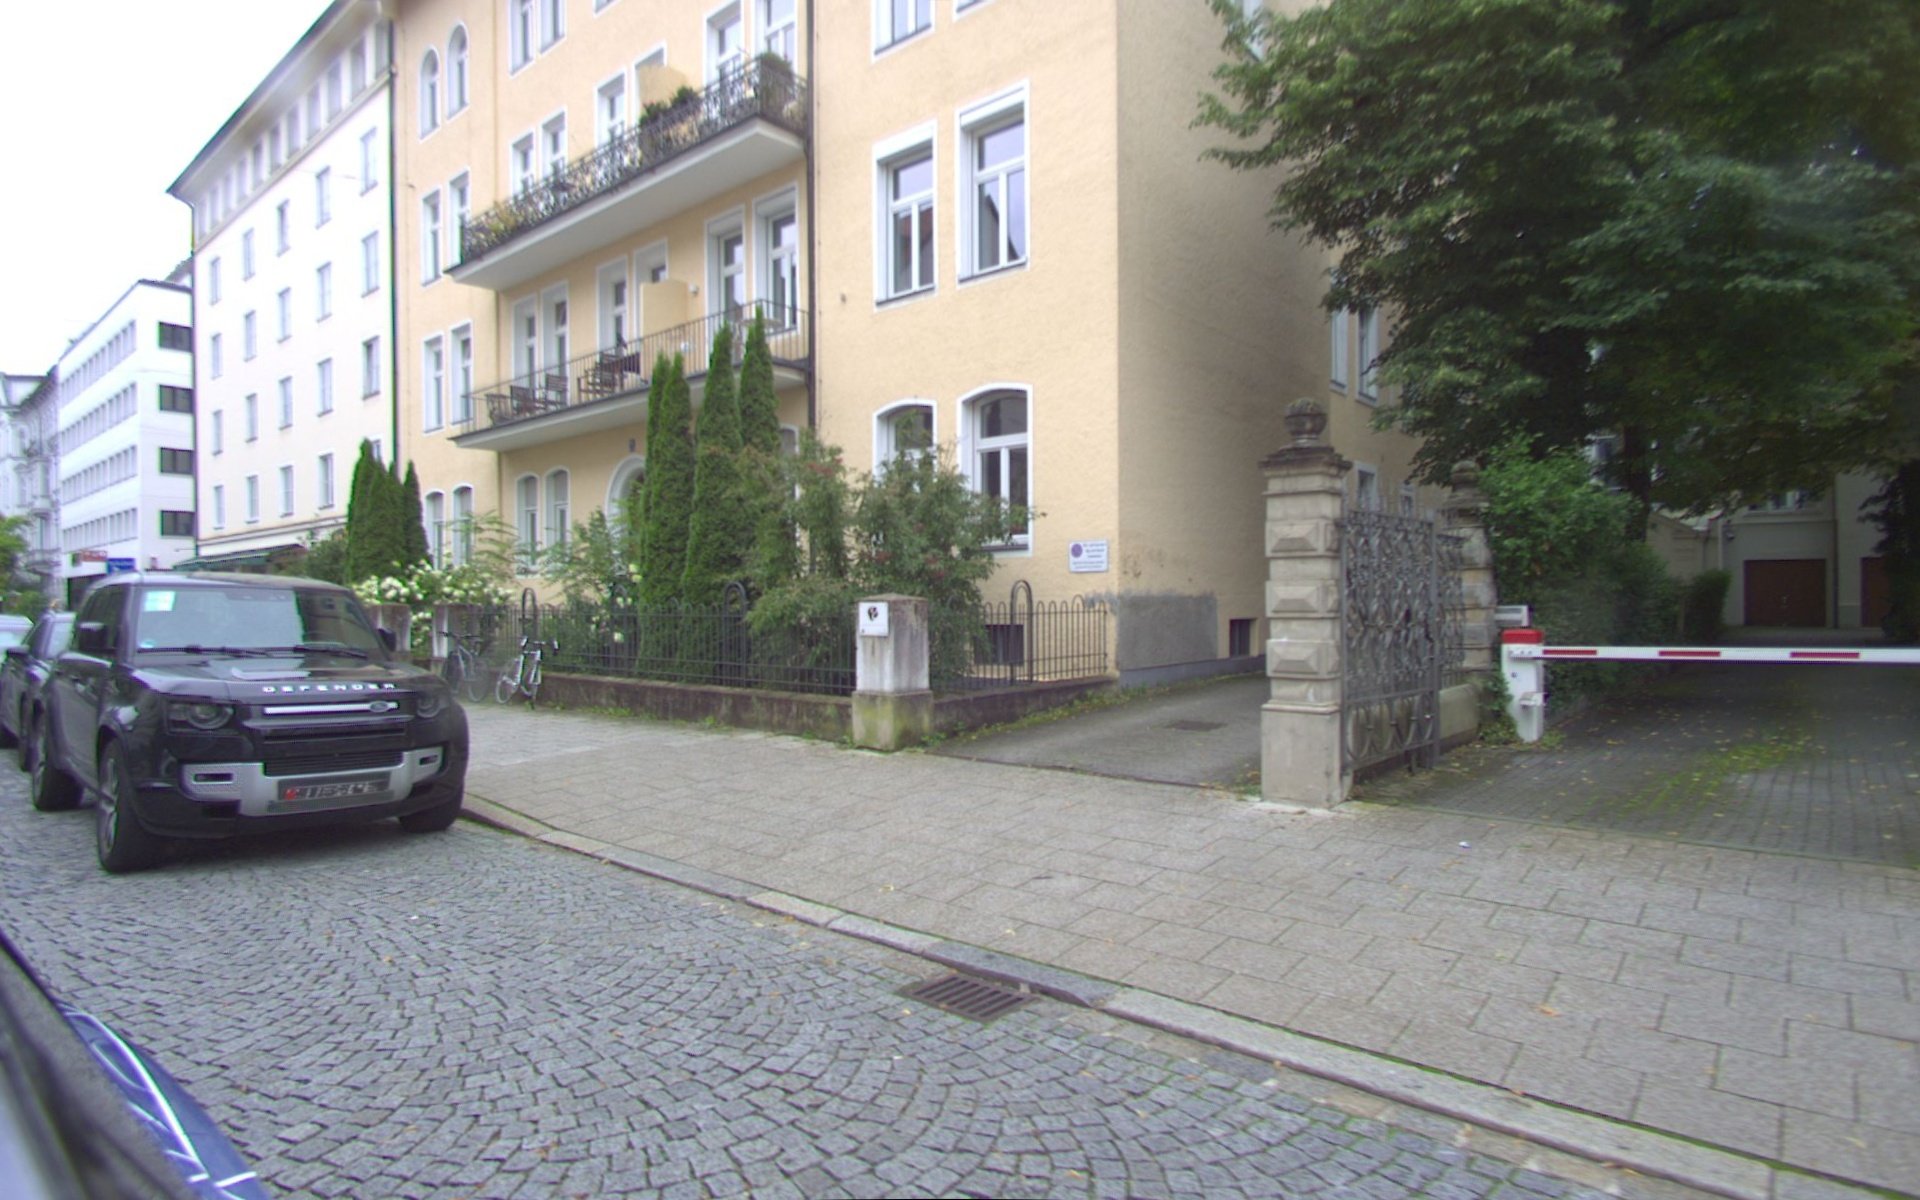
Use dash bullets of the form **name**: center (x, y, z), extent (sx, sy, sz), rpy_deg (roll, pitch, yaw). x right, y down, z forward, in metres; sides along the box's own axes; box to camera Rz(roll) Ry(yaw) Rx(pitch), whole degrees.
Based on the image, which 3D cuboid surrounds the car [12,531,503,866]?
- **car**: center (-5.478, 0.544, 7.602), extent (4.720, 1.751, 1.962), rpy_deg (-2, 0, 42)

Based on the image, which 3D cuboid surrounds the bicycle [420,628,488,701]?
- **bicycle**: center (-7.535, 0.932, 15.041), extent (1.572, 1.010, 0.348), rpy_deg (-1, 0, 42)

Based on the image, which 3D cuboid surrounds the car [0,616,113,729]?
- **car**: center (-14.105, 0.988, 14.937), extent (4.388, 1.440, 1.755), rpy_deg (-1, 1, 41)

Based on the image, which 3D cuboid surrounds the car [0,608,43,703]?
- **car**: center (-18.867, 1.011, 19.159), extent (4.389, 1.660, 1.755), rpy_deg (-1, 1, 42)

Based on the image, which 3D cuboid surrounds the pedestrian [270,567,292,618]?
- **pedestrian**: center (-21.992, -0.241, 32.770), extent (0.497, 1.655, 0.472), rpy_deg (-1, 0, 45)

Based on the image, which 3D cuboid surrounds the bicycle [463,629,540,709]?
- **bicycle**: center (-6.311, 0.919, 13.897), extent (1.572, 1.010, 0.348), rpy_deg (-1, 0, 42)

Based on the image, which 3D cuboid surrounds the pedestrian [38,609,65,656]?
- **pedestrian**: center (-36.186, 1.275, 40.325), extent (0.812, 1.854, 0.608), rpy_deg (-1, 0, 34)

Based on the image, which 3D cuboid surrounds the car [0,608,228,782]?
- **car**: center (-9.671, 0.906, 11.272), extent (4.054, 1.602, 1.563), rpy_deg (0, -2, 41)
